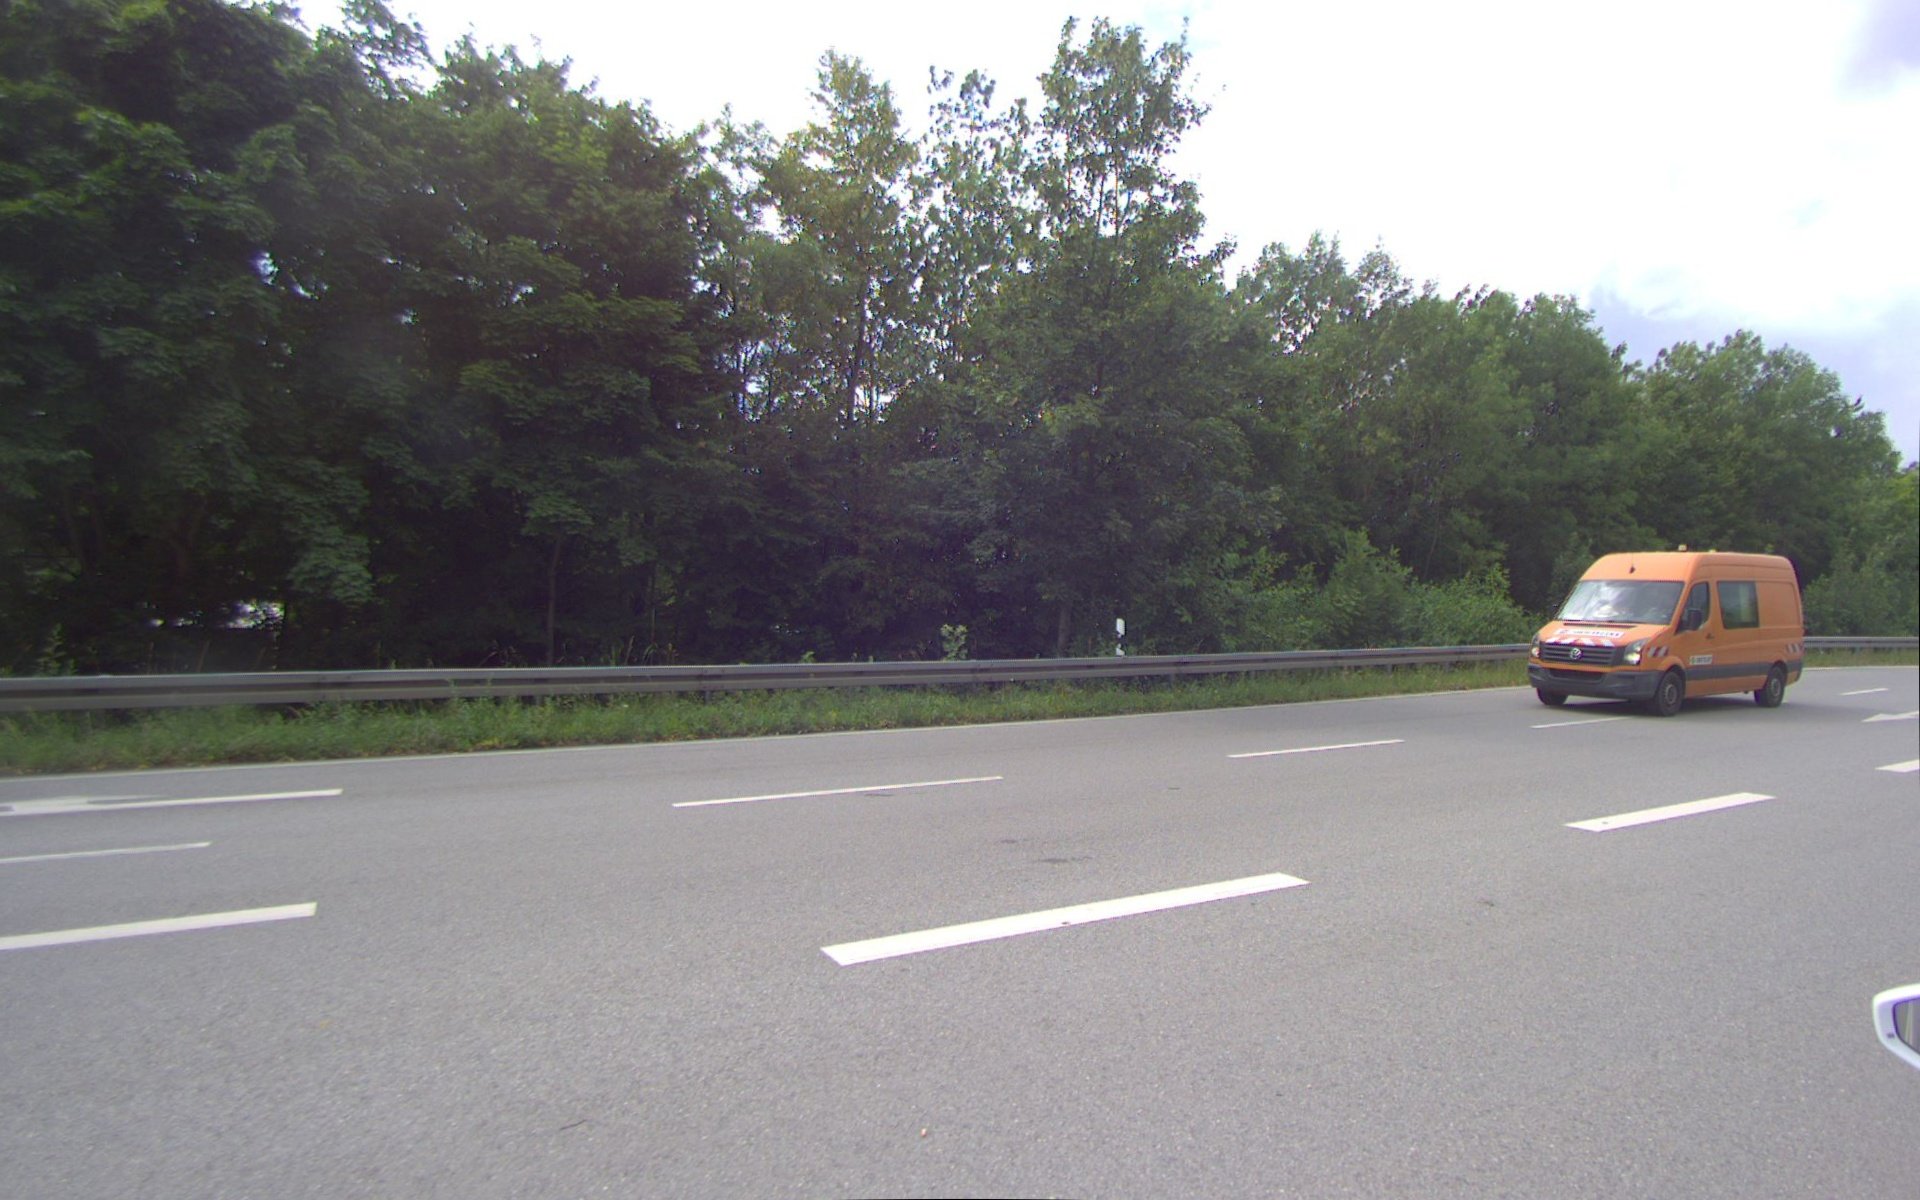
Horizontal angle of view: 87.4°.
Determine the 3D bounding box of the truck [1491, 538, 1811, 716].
[{"bbox_3d":[12.061,0.417,17.399,5.954,2.636,2.304,1,0,-31],"label":"truck"}]
